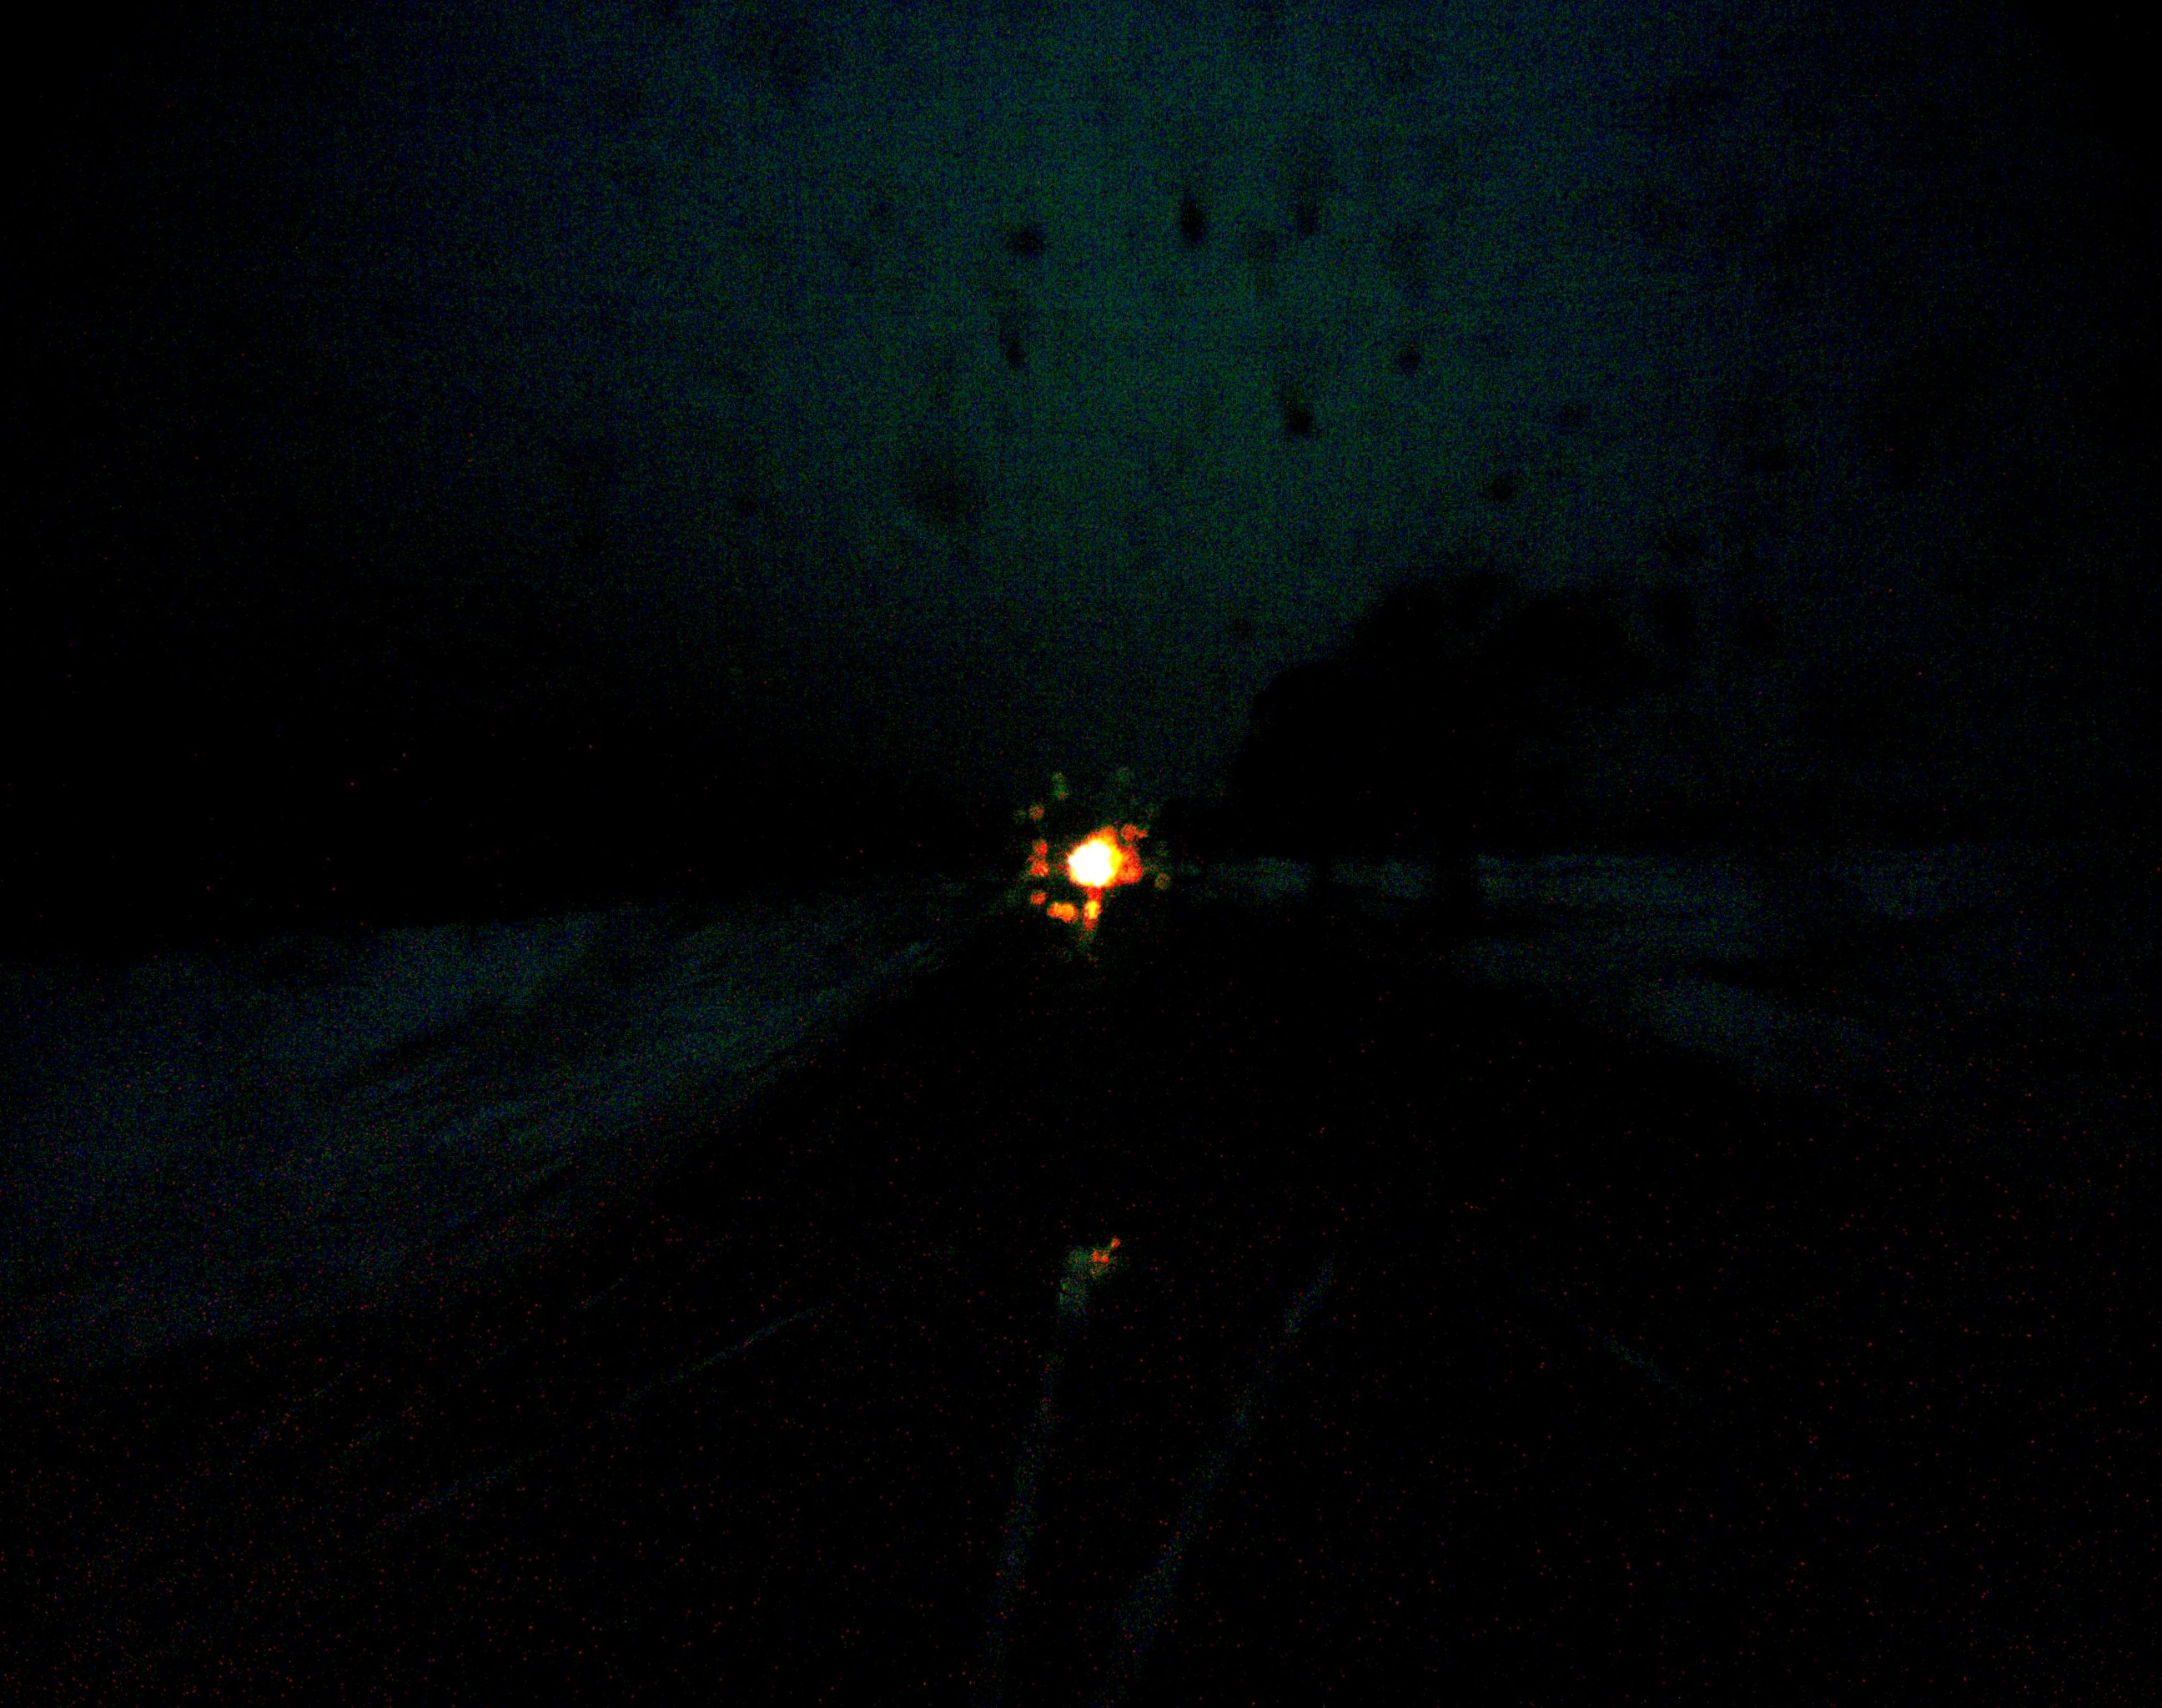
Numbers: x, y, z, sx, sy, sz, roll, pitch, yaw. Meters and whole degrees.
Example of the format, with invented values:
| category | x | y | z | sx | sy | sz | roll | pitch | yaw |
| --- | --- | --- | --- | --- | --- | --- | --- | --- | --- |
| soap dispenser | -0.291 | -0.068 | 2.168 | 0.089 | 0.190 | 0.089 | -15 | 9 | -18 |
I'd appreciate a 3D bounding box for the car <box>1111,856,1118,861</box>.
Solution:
| category | x | y | z | sx | sy | sz | roll | pitch | yaw |
| --- | --- | --- | --- | --- | --- | --- | --- | --- | --- |
| car | 9.185 | 1.113 | 206.405 | 1.732 | 1.338 | 4.222 | 1 | 0 | 1 |
